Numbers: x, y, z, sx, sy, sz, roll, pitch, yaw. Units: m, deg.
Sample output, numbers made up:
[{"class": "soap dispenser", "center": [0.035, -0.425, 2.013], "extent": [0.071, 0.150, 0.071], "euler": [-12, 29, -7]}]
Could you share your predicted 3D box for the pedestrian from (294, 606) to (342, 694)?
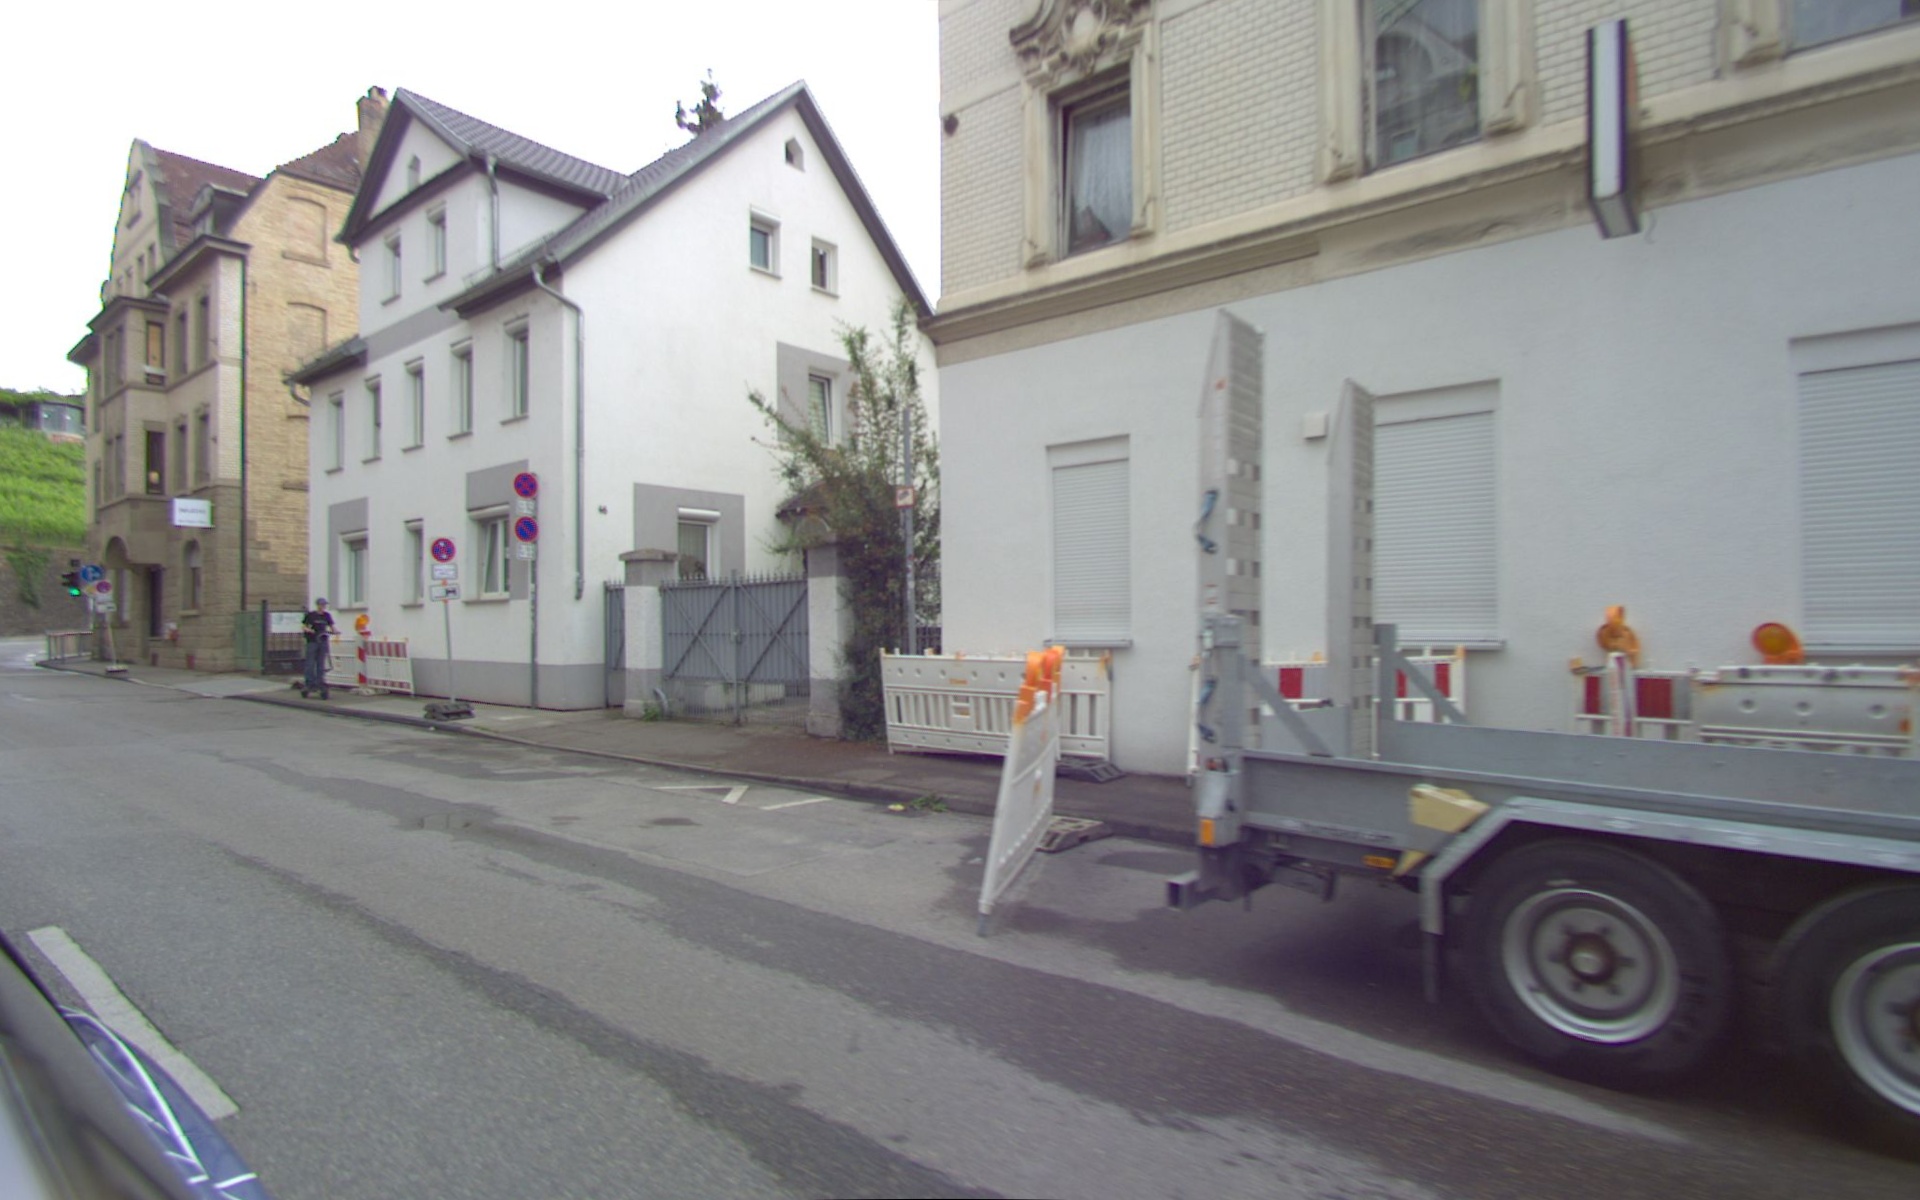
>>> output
[{"class": "pedestrian", "center": [-11.875, 0.912, 18.715], "extent": [0.607, 1.578, 0.594], "euler": [-1, 0, 41]}]

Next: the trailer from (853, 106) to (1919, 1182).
[{"class": "trailer", "center": [2.589, 0.154, 4.216], "extent": [6.300, 2.825, 2.419], "euler": [-2, -3, 41]}]

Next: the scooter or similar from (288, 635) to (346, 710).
[{"class": "scooter or similar", "center": [-11.919, 1.324, 18.756], "extent": [1.226, 1.300, 0.554], "euler": [-1, 0, 39]}]
